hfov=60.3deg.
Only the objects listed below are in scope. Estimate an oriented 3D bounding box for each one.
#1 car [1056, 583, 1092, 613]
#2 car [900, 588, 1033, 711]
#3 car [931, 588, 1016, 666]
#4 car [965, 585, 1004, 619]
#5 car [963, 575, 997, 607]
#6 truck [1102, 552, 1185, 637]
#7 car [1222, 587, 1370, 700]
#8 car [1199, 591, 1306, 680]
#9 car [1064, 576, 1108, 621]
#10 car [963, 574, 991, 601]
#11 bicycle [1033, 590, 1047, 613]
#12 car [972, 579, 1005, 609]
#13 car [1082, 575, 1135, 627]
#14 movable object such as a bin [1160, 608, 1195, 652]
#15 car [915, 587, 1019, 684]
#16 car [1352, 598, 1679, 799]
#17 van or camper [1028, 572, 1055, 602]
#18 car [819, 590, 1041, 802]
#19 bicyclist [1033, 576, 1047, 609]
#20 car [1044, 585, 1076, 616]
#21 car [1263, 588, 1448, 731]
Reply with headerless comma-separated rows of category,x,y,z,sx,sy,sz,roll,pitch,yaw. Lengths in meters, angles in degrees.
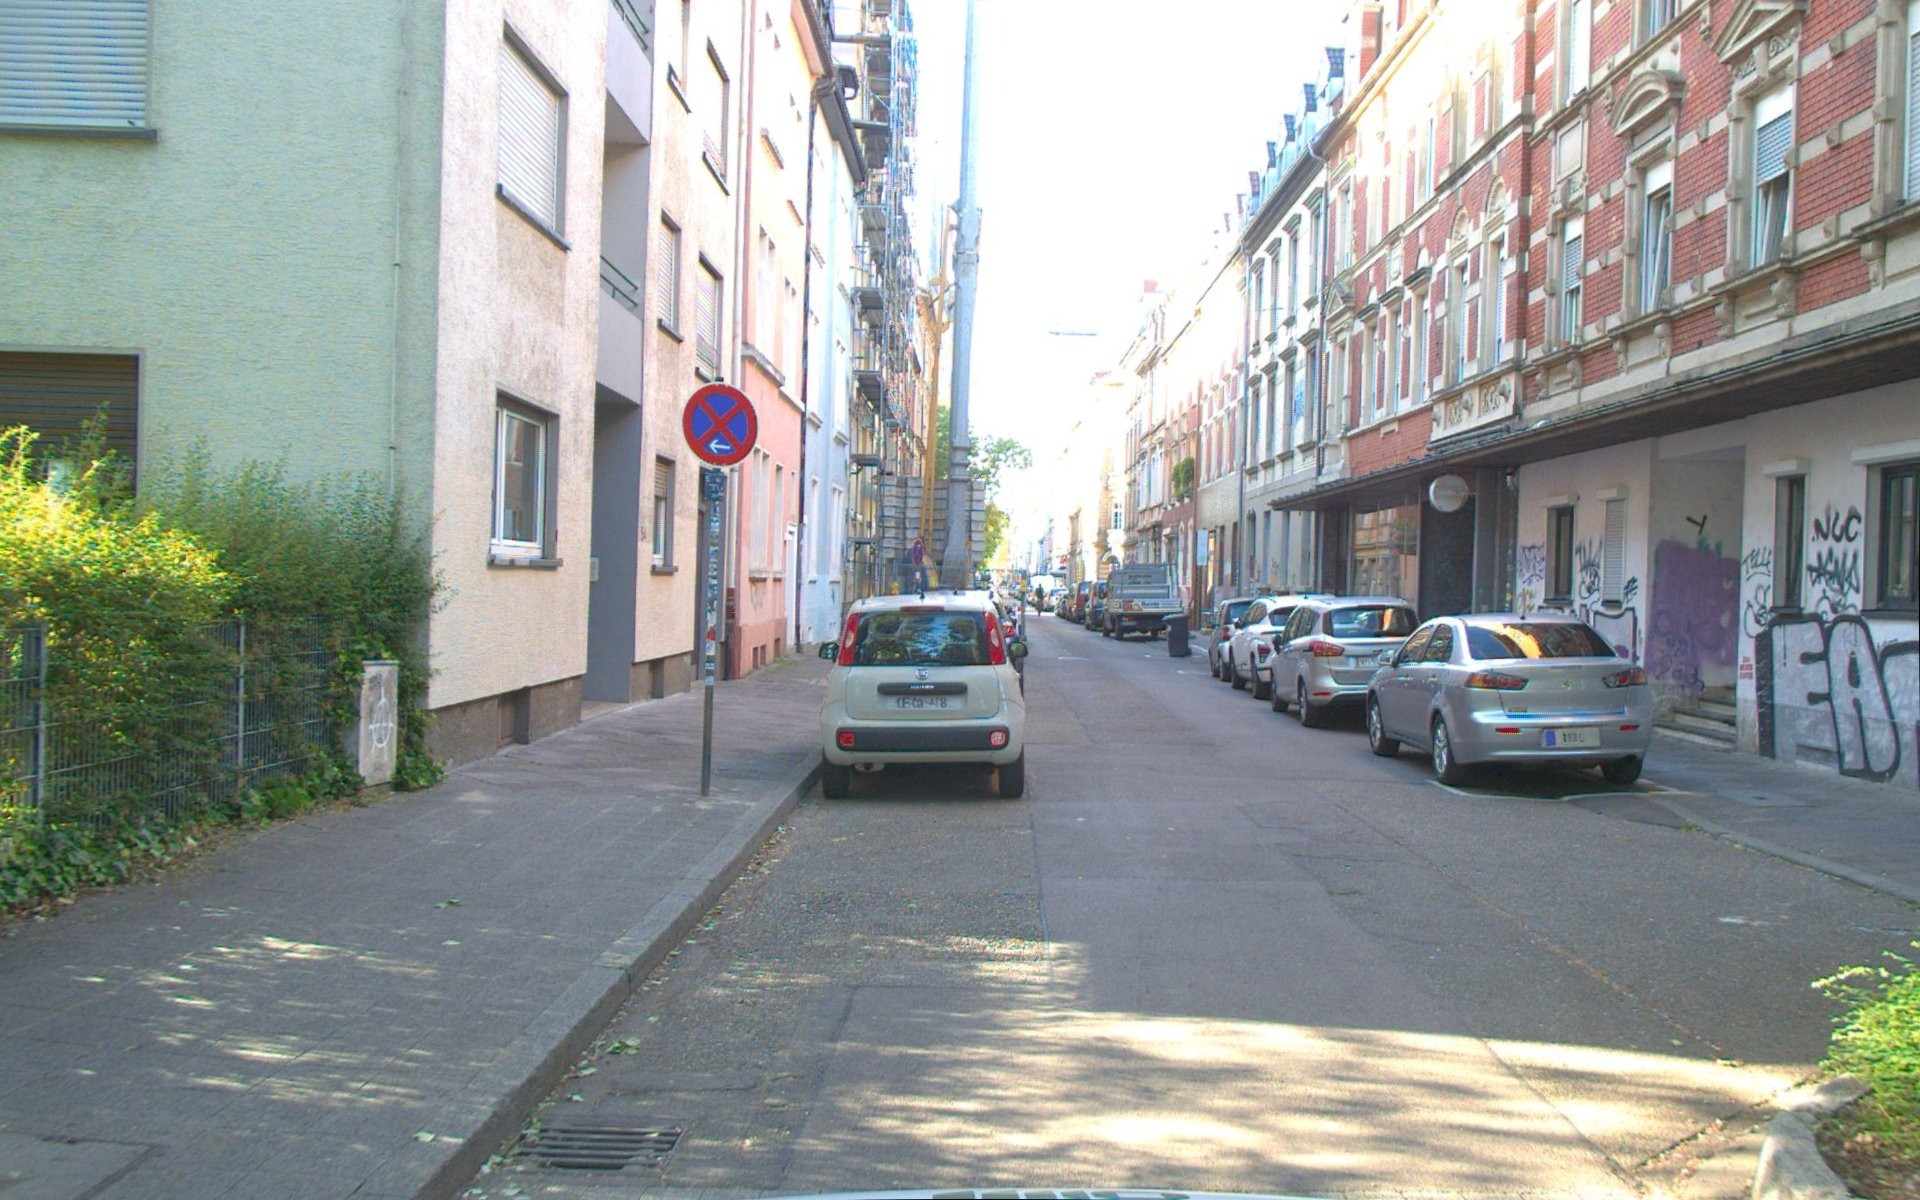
car,6.264,-0.118,91.396,1.641,1.598,3.868,1,0,-1
car,0.040,0.617,23.234,1.694,1.566,4.377,0,0,-1
car,0.303,0.511,34.641,1.640,1.503,4.608,1,0,1
car,1.102,0.076,75.952,1.641,1.470,3.868,1,0,-1
car,1.016,-0.487,86.434,1.641,1.598,3.868,1,0,-1
truck,6.018,-0.200,54.906,2.145,2.652,5.234,0,1,0
car,5.528,0.656,27.705,1.710,1.705,4.342,1,0,2
car,5.751,0.659,32.882,1.563,1.587,3.815,2,1,3
car,5.912,-0.075,77.905,1.641,2.066,3.868,1,0,-1
car,1.198,-0.896,119.525,1.953,1.881,4.000,0,1,0
bicycle,4.511,0.074,93.555,0.709,1.207,2.043,2,1,1
car,1.566,-0.345,91.315,1.641,1.598,3.868,1,0,-1
car,5.844,0.025,65.415,1.641,1.997,4.108,1,0,-1
movable object such as a bin,5.606,0.770,42.653,0.778,1.074,0.660,1,0,1
car,0.143,0.562,28.913,1.640,1.538,4.415,1,0,1
car,5.114,0.812,15.873,1.686,1.589,4.399,2,0,1
van or camper,7.112,-1.159,144.450,1.954,2.552,4.200,0,0,-3
car,-0.263,0.705,14.230,1.641,1.566,3.868,0,0,-1
bicyclist,4.546,-0.434,93.519,0.715,1.792,0.835,2,1,1
car,6.959,0.017,115.831,1.953,2.049,4.000,1,1,0
car,5.153,0.711,22.012,1.606,1.685,3.870,2,0,2
